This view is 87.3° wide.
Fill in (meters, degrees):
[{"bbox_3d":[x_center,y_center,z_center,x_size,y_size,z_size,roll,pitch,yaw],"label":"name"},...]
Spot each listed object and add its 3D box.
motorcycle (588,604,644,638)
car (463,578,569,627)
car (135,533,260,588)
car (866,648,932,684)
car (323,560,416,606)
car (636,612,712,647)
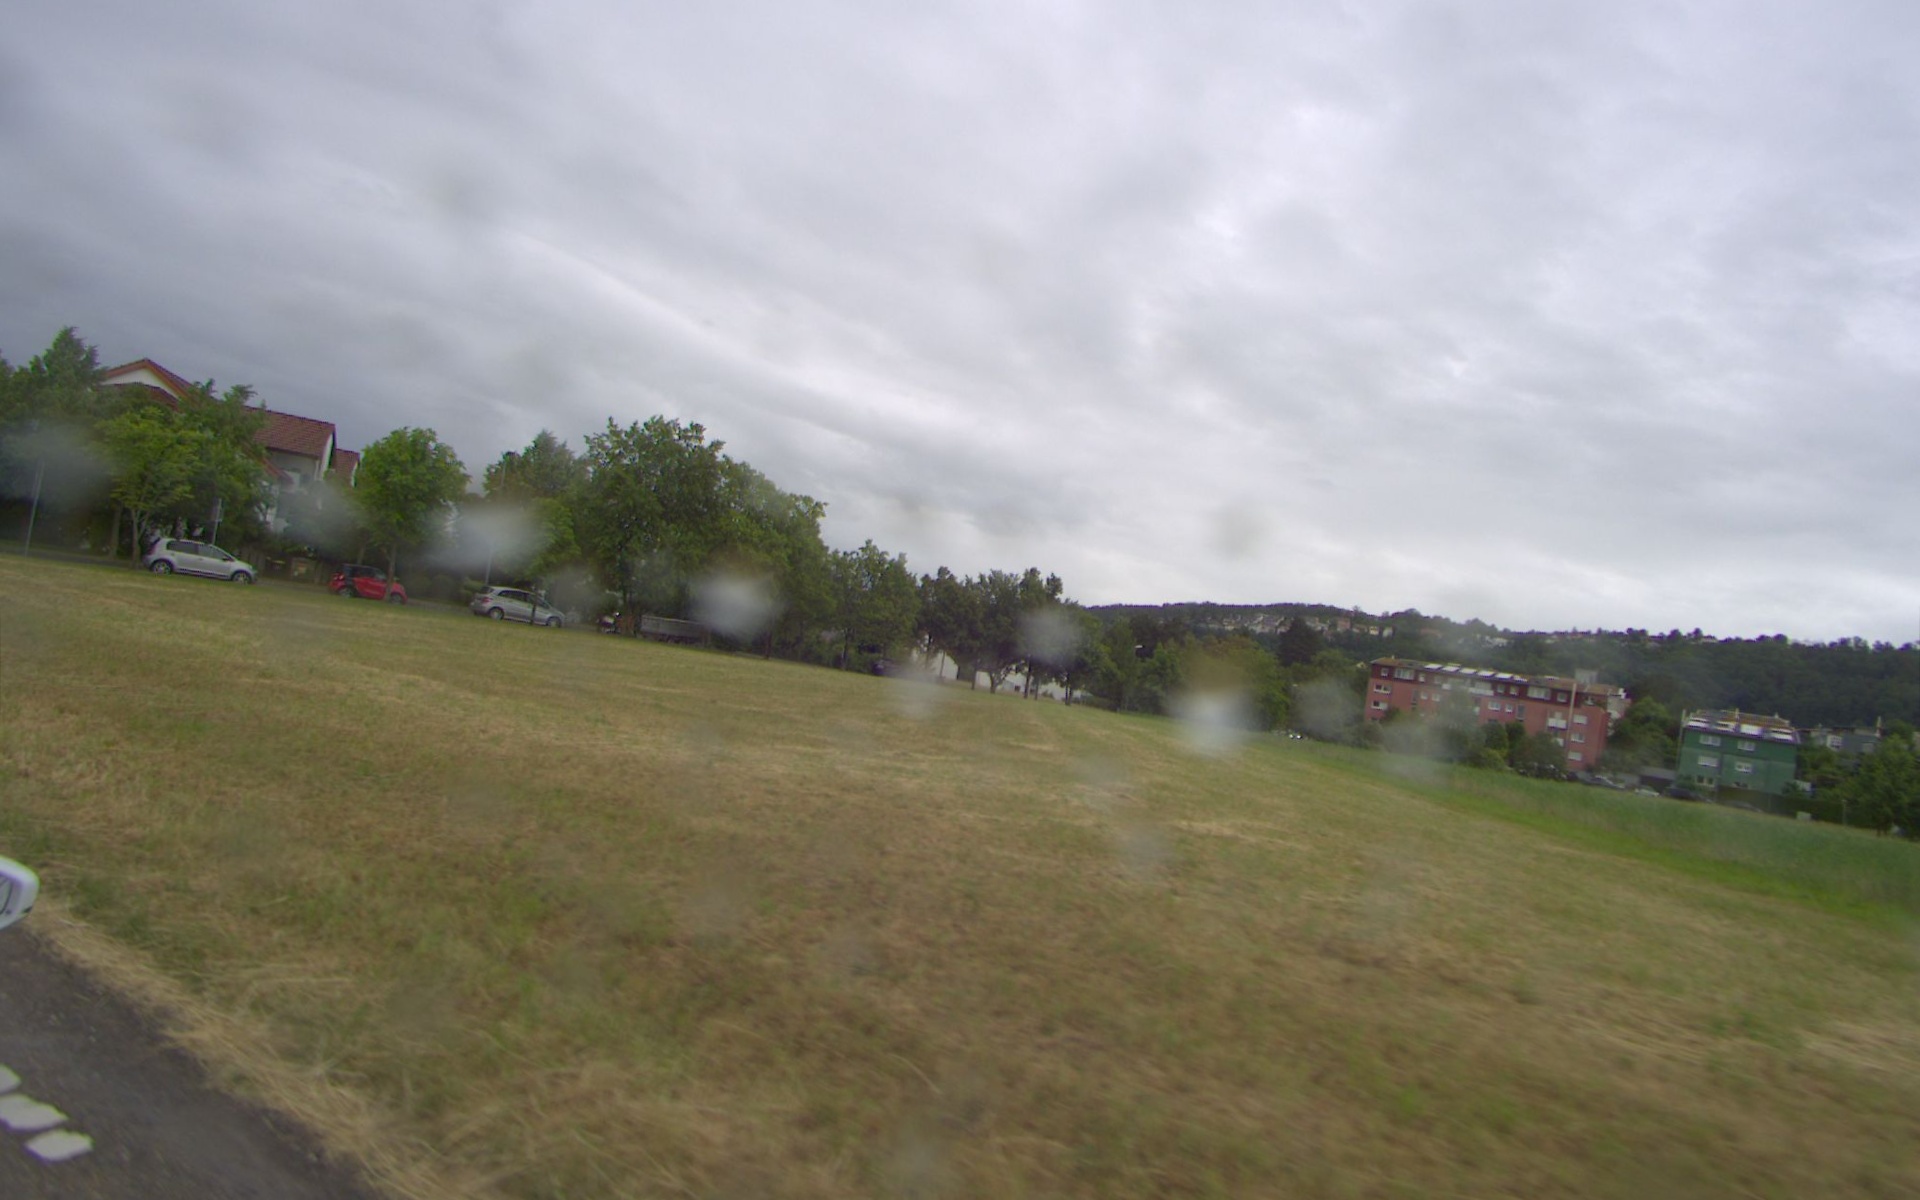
[{"bbox_3d":[-17.006,1.042,49.765,0.958,1.316,2.257,6,-4,42],"label":"motorcycle"},{"bbox_3d":[-20.581,0.141,46.724,1.827,1.568,3.976,5,-5,42],"label":"car"},{"bbox_3d":[-28.943,-1.476,38.237,3.533,1.495,1.661,10,-4,-42],"label":"car"},{"bbox_3d":[-3.944,4.348,65.868,1.934,1.623,3.992,6,-6,40],"label":"car"},{"bbox_3d":[-24.786,-0.714,42.288,2.995,1.451,1.536,11,-5,-42],"label":"car"},{"bbox_3d":[-14.942,1.568,52.683,1.710,1.295,3.316,5,-4,42],"label":"car"}]
